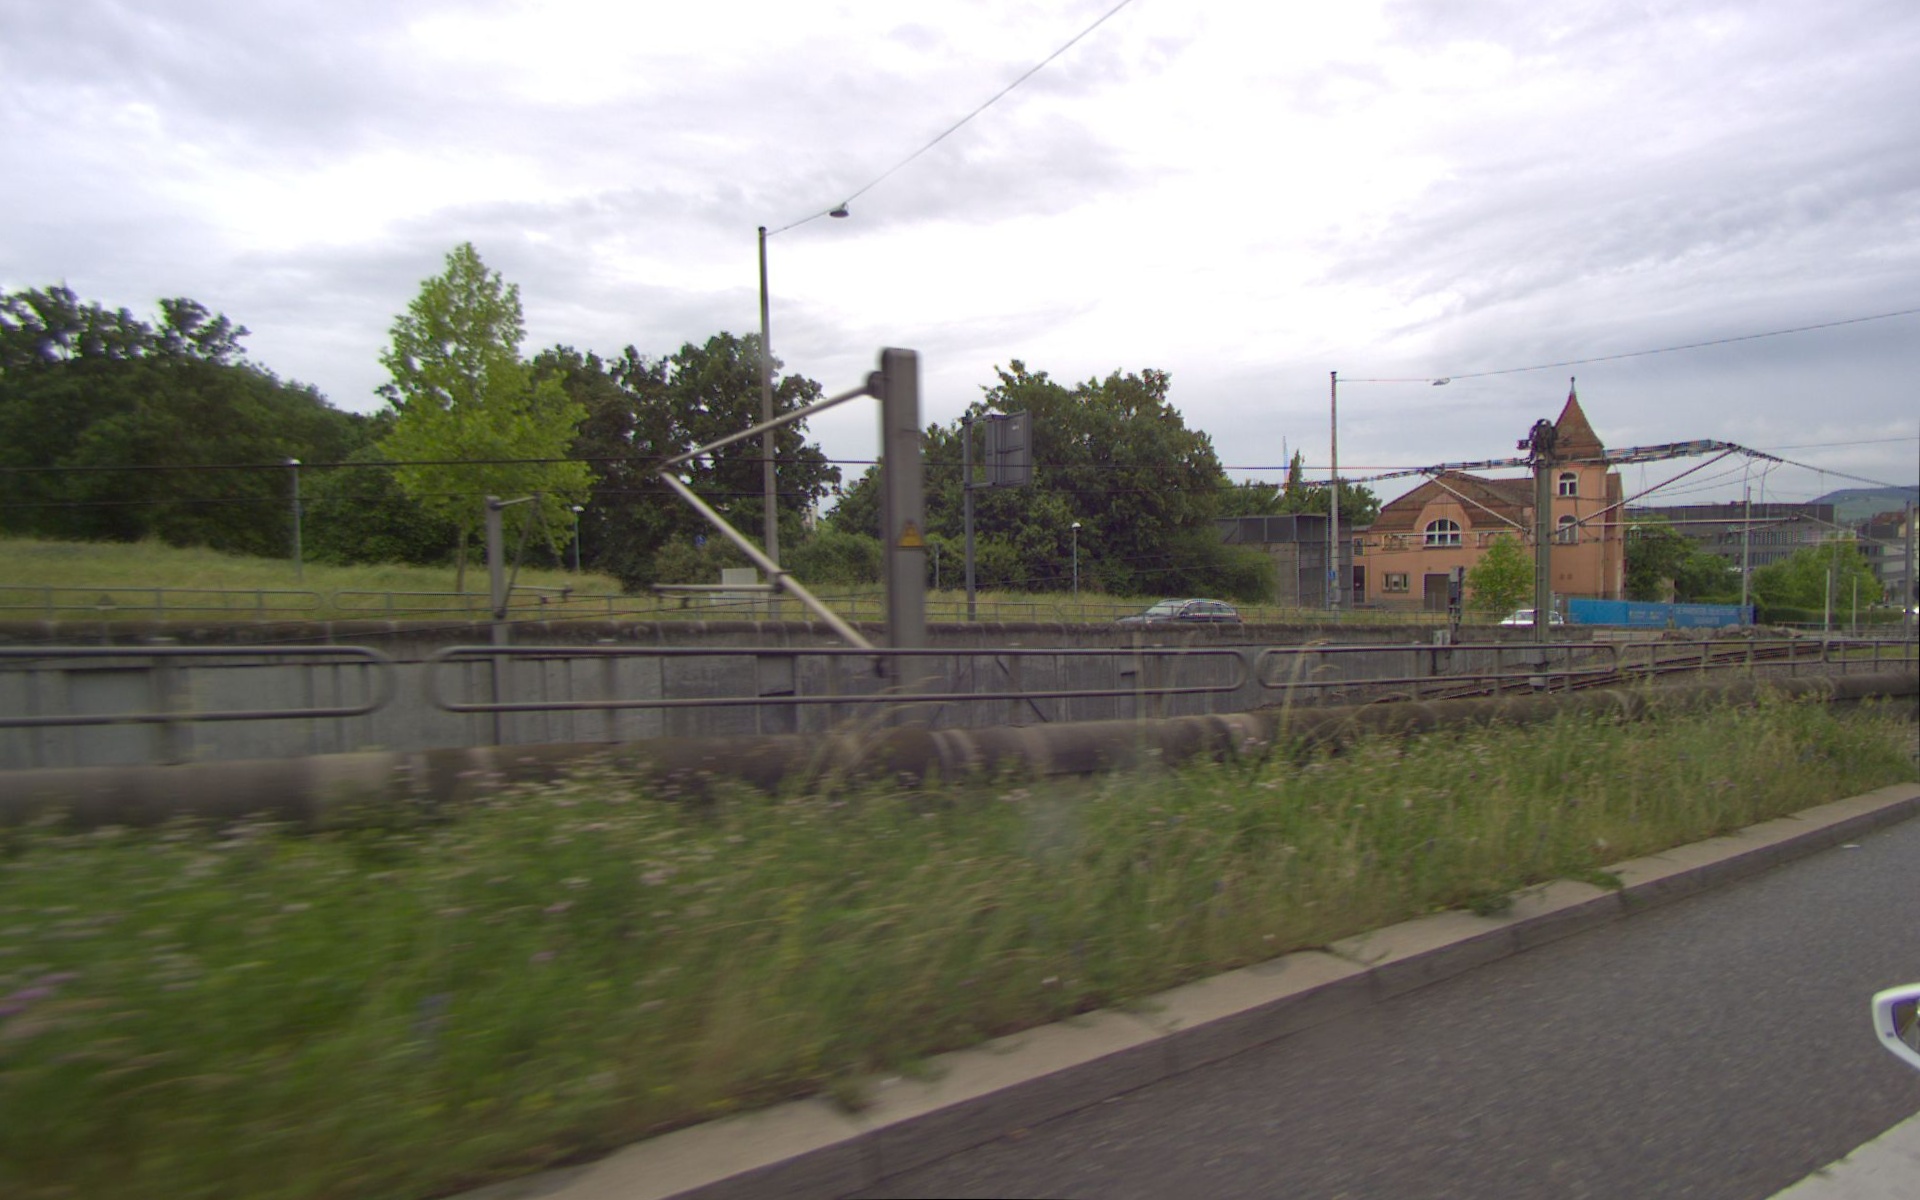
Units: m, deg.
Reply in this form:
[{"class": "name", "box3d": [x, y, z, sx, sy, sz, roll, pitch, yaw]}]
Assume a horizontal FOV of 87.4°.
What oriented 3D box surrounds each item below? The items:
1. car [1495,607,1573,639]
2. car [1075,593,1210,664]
[{"class": "car", "box3d": [25.565, 0.998, 44.741, 3.520, 1.309, 1.546, 0, 2, -33]}, {"class": "car", "box3d": [5.766, 0.859, 31.640, 3.996, 1.997, 1.877, 1, 4, -36]}]
